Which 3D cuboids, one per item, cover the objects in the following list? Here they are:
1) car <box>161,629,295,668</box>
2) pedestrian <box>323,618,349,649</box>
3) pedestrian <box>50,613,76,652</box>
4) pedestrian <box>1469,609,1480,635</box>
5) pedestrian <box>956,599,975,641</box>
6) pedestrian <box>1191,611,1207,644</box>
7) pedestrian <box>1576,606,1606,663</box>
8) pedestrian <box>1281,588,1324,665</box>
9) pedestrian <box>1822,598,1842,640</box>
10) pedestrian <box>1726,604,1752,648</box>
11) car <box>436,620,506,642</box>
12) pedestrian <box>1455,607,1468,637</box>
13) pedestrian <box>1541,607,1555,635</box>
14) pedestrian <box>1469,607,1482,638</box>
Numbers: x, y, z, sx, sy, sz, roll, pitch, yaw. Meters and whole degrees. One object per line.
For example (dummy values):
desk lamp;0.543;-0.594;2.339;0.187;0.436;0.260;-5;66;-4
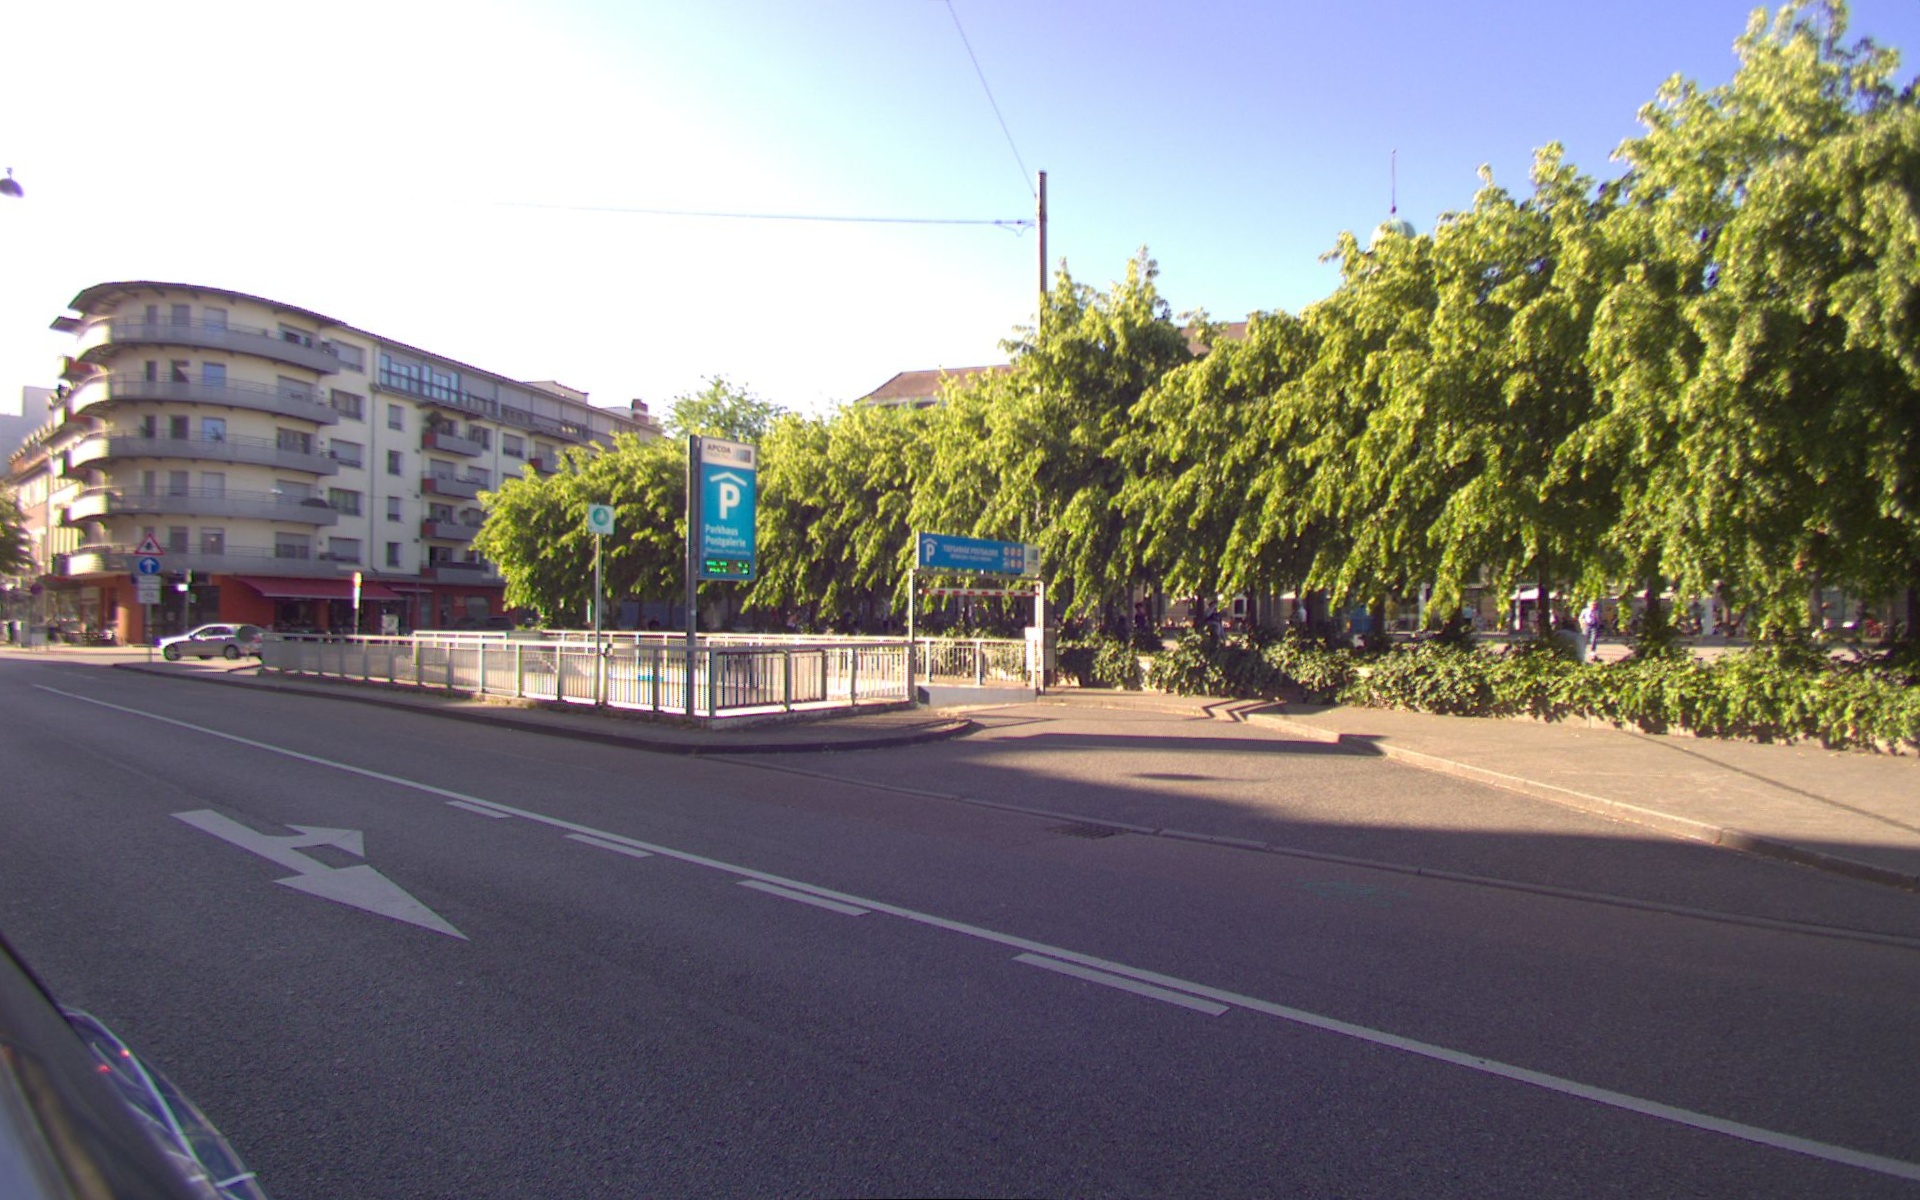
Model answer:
car;-28.816;1.885;39.895;4.216;1.363;1.819;1;-2;9
pedestrian;-33.140;1.757;53.759;0.877;1.607;0.861;-1;0;2
pedestrian;-46.825;1.681;52.830;0.888;2.029;0.850;-1;0;40
pedestrian;29.708;1.256;58.422;0.537;1.512;0.547;-1;0;29
pedestrian;0.218;0.835;42.698;0.604;1.734;0.642;-1;0;21
pedestrian;12.481;1.432;52.786;0.606;1.734;0.640;-1;0;31
pedestrian;19.476;1.051;31.242;0.643;1.734;0.604;-1;0;22
pedestrian;7.555;0.573;22.344;0.645;1.661;0.626;-1;0;-35
pedestrian;41.212;0.899;47.846;0.676;1.963;0.632;-1;0;38
pedestrian;31.446;1.046;40.878;0.641;1.734;0.605;-1;0;18
car;-30.506;1.897;63.231;1.742;1.311;3.977;-1;-1;17
pedestrian;29.093;1.265;58.725;0.643;1.734;0.603;-1;0;26
pedestrian;37.765;1.345;65.021;0.642;1.734;0.604;-1;0;20
pedestrian;29.340;1.280;57.631;0.643;1.734;0.603;-1;0;26
